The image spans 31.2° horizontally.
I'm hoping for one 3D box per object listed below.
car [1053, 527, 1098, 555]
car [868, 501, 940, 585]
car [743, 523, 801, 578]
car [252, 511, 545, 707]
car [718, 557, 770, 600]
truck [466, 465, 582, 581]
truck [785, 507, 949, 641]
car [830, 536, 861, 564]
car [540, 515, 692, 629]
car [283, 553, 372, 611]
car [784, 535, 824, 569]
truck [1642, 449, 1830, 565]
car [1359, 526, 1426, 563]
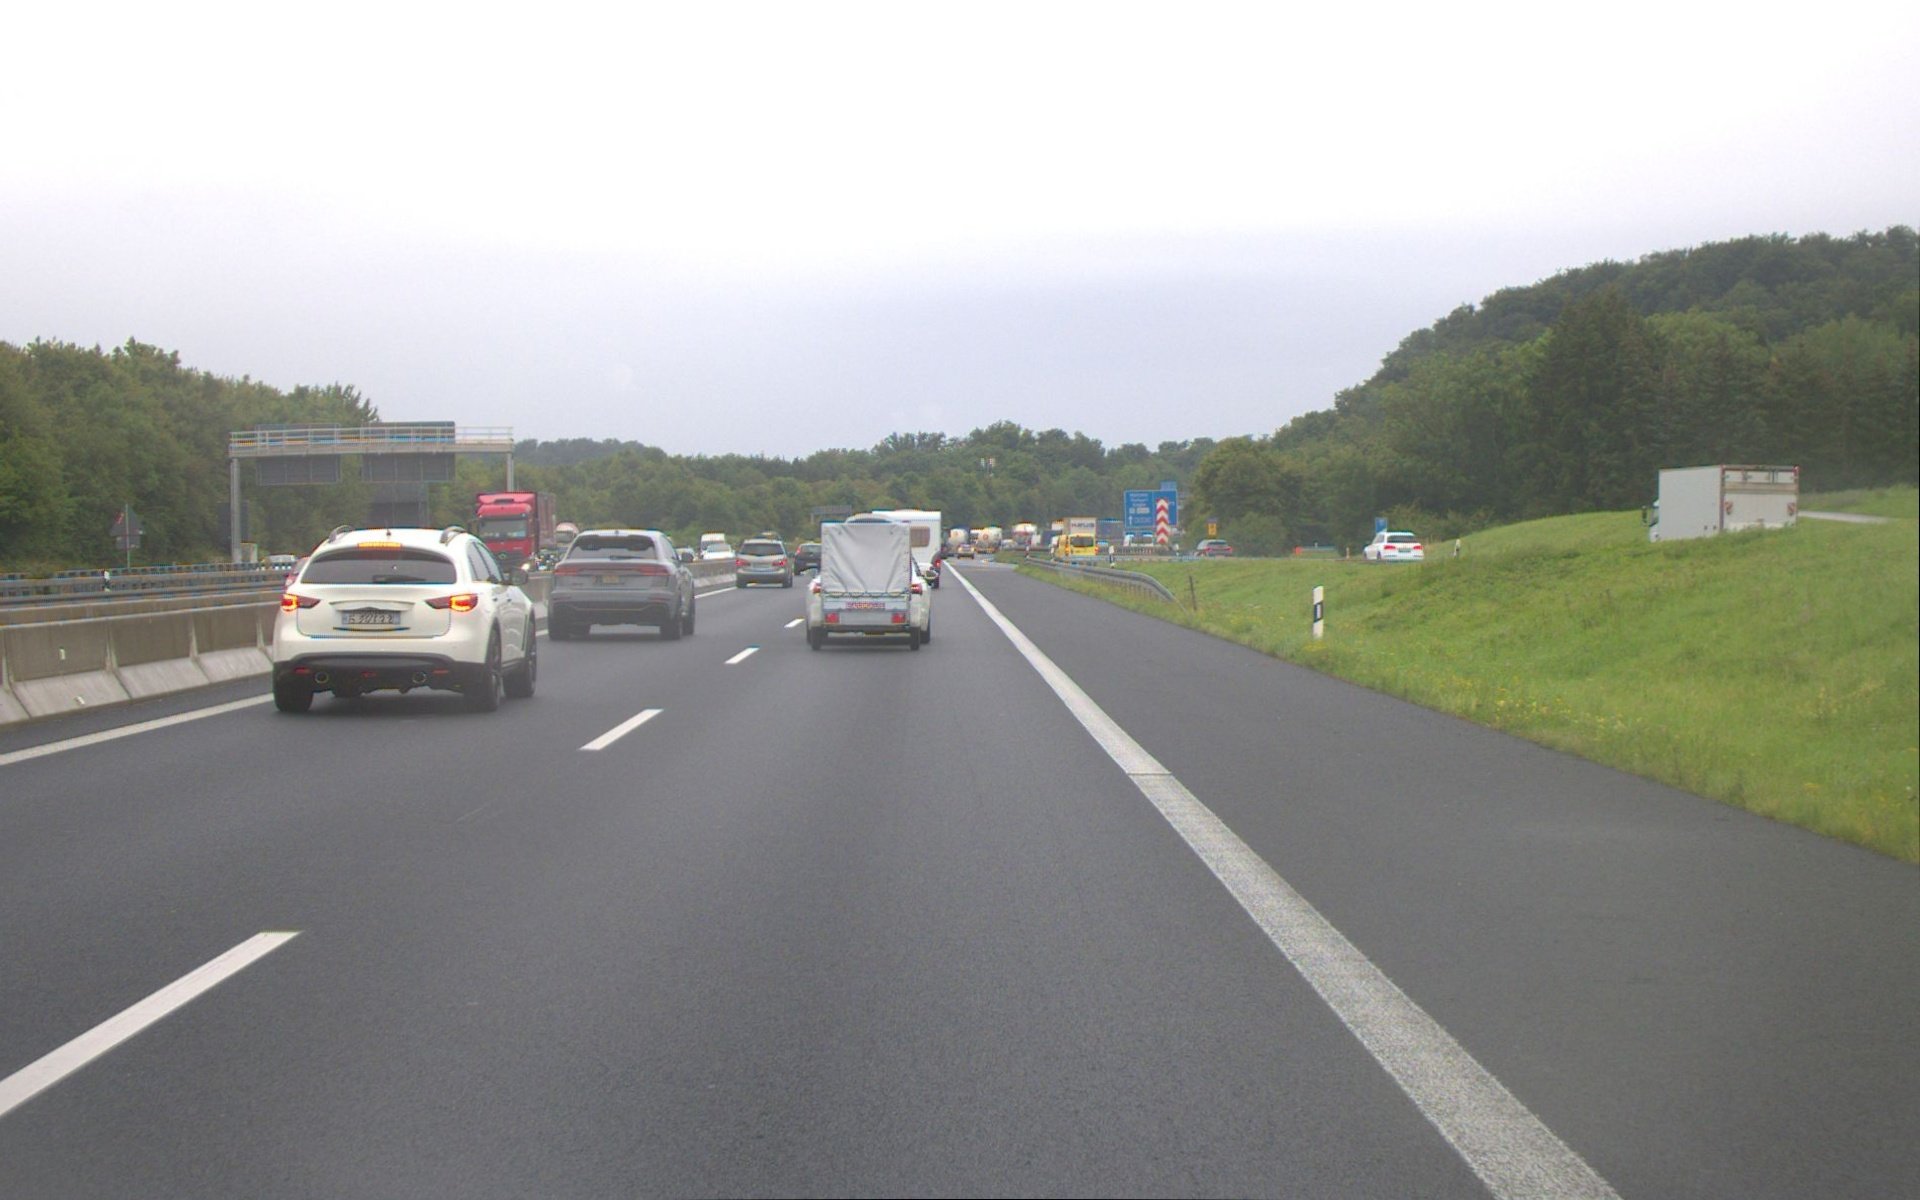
[{"bbox_3d":[6.506,-3.318,194.046,1.993,1.546,4.001,1,1,-6],"label":"car"},{"bbox_3d":[-1.875,-1.929,115.459,2.331,2.716,6.540,0,1,-1],"label":"car"},{"bbox_3d":[-6.268,-1.670,114.893,1.738,1.787,4.000,0,1,-1],"label":"car"},{"bbox_3d":[-5.096,0.035,31.809,2.048,1.665,4.541,0,1,-1],"label":"car"},{"bbox_3d":[-8.636,-0.867,137.814,1.819,1.656,4.017,0,1,0],"label":"car"},{"bbox_3d":[-18.399,-3.257,145.808,3.400,4.717,10.485,1,1,1],"label":"truck"},{"bbox_3d":[-1.359,-0.417,50.601,2.242,1.833,6.585,0,1,-1],"label":"truck"},{"bbox_3d":[-6.713,-2.928,201.410,1.645,1.568,4.000,1,1,0],"label":"car"},{"bbox_3d":[-5.375,-0.466,54.268,1.975,1.697,4.802,1,1,-1],"label":"car"},{"bbox_3d":[-17.544,-0.518,95.535,1.724,1.547,4.583,1,1,-1],"label":"car"},{"bbox_3d":[-7.238,-2.229,159.631,1.645,1.568,4.000,1,1,0],"label":"car"},{"bbox_3d":[25.830,-3.060,114.919,3.824,3.646,8.273,1,1,-4],"label":"truck"},{"bbox_3d":[18.630,-2.380,148.271,1.993,1.546,4.001,1,1,-6],"label":"car"}]
